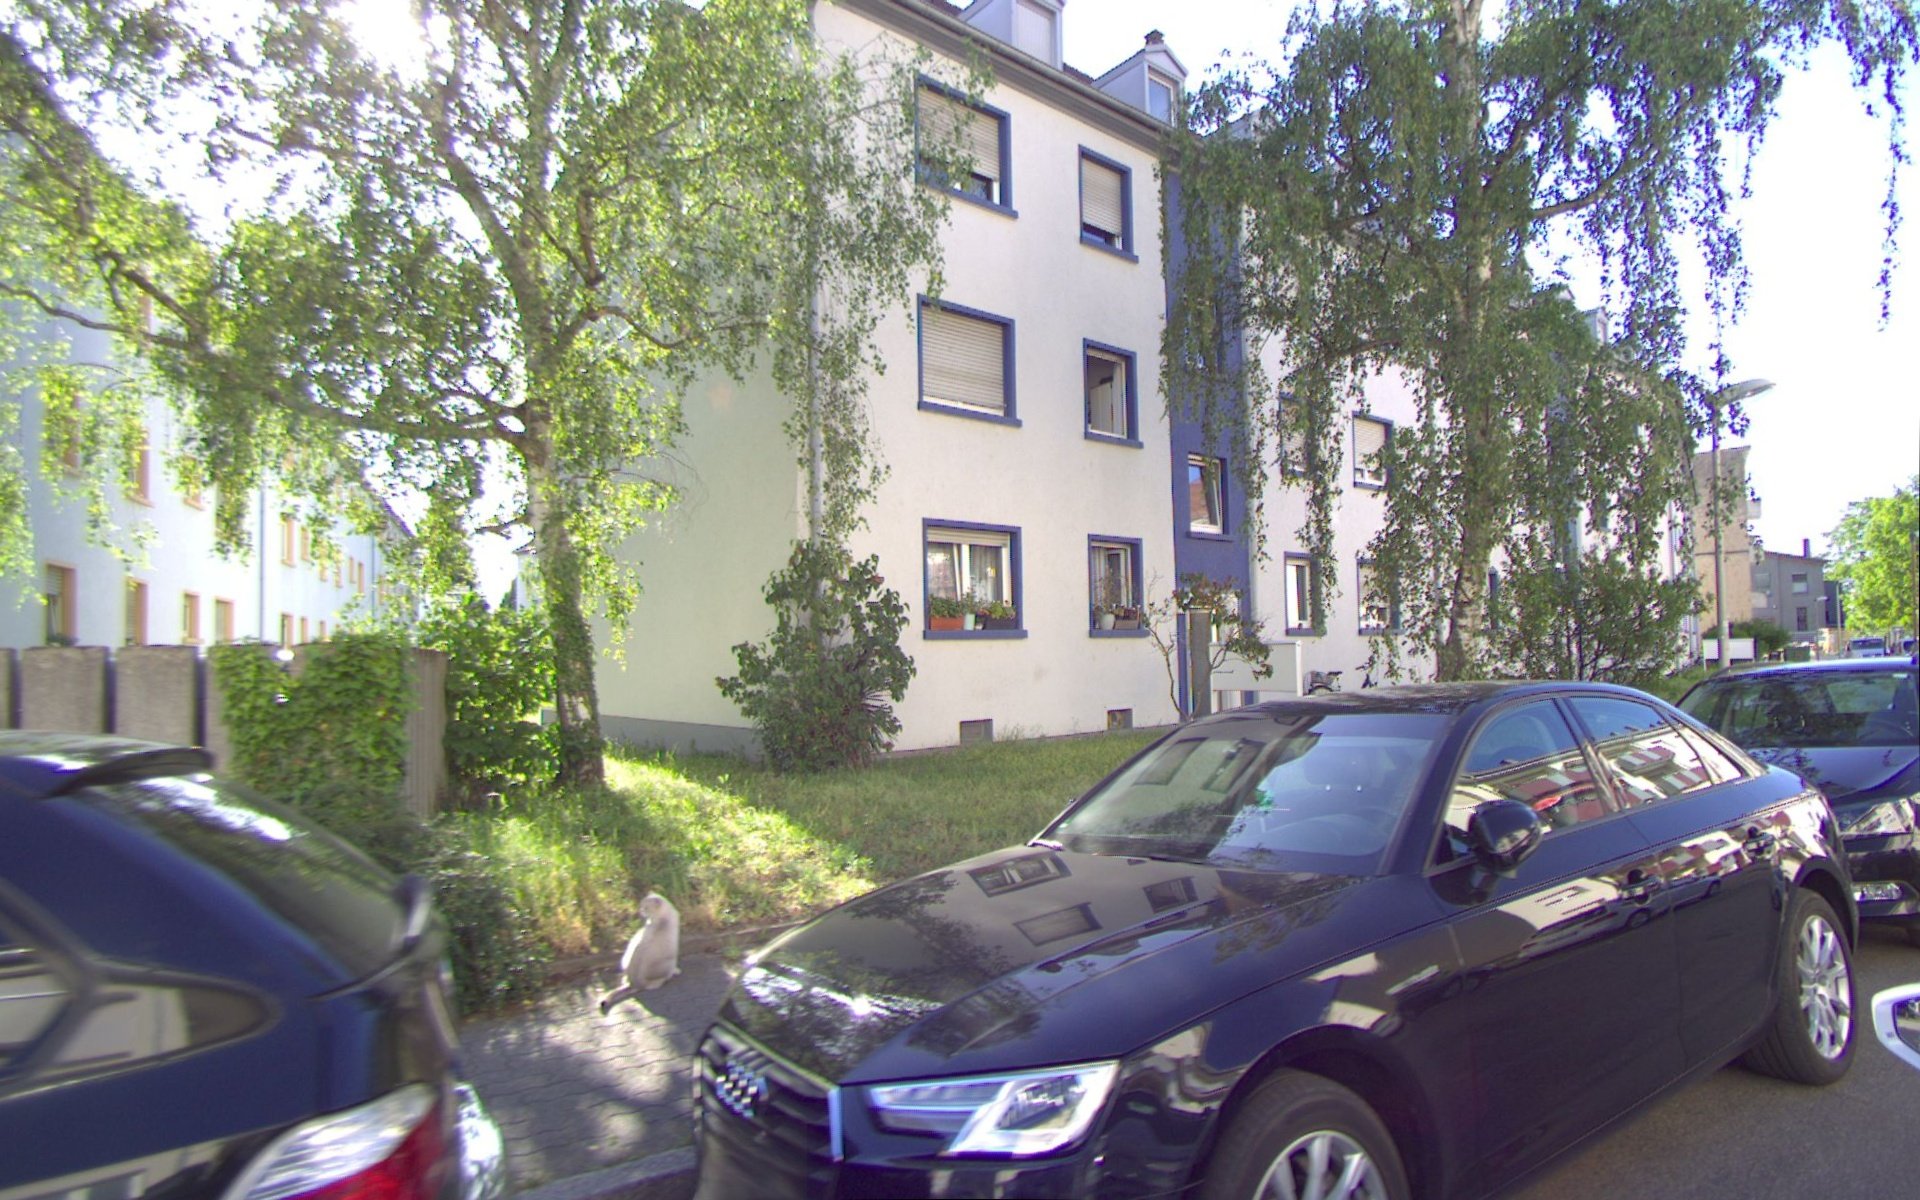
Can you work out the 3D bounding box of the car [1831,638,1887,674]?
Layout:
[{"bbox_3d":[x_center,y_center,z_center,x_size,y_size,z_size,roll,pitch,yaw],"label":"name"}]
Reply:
[{"bbox_3d":[55.567,3.477,62.147,1.969,2.039,4.439,-6,-6,36],"label":"car"}]

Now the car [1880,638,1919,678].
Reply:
[{"bbox_3d":[46.986,2.835,49.508,1.873,1.879,4.181,-5,-6,36],"label":"car"}]

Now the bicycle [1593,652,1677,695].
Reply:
[{"bbox_3d":[18.162,1.957,27.068,0.562,1.092,1.809,1,-2,-34],"label":"bicycle"}]

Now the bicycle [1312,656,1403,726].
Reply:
[{"bbox_3d":[6.957,1.604,17.624,0.412,1.166,1.397,1,-5,-41],"label":"bicycle"}]

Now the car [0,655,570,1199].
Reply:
[{"bbox_3d":[-2.815,0.889,0.732,4.564,1.471,1.672,0,-7,-29],"label":"car"}]

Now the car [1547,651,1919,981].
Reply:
[{"bbox_3d":[5.500,1.111,6.200,3.925,1.460,1.548,2,-8,-33],"label":"car"}]

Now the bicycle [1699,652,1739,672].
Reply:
[{"bbox_3d":[40.403,3.306,53.481,1.628,0.948,0.545,-7,-6,39],"label":"bicycle"}]

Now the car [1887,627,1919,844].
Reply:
[{"bbox_3d":[9.831,1.052,8.830,4.296,1.735,1.546,1,-7,-37],"label":"car"}]

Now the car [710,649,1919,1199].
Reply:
[{"bbox_3d":[1.492,0.994,3.422,4.234,1.460,1.670,1,-7,-33],"label":"car"}]
